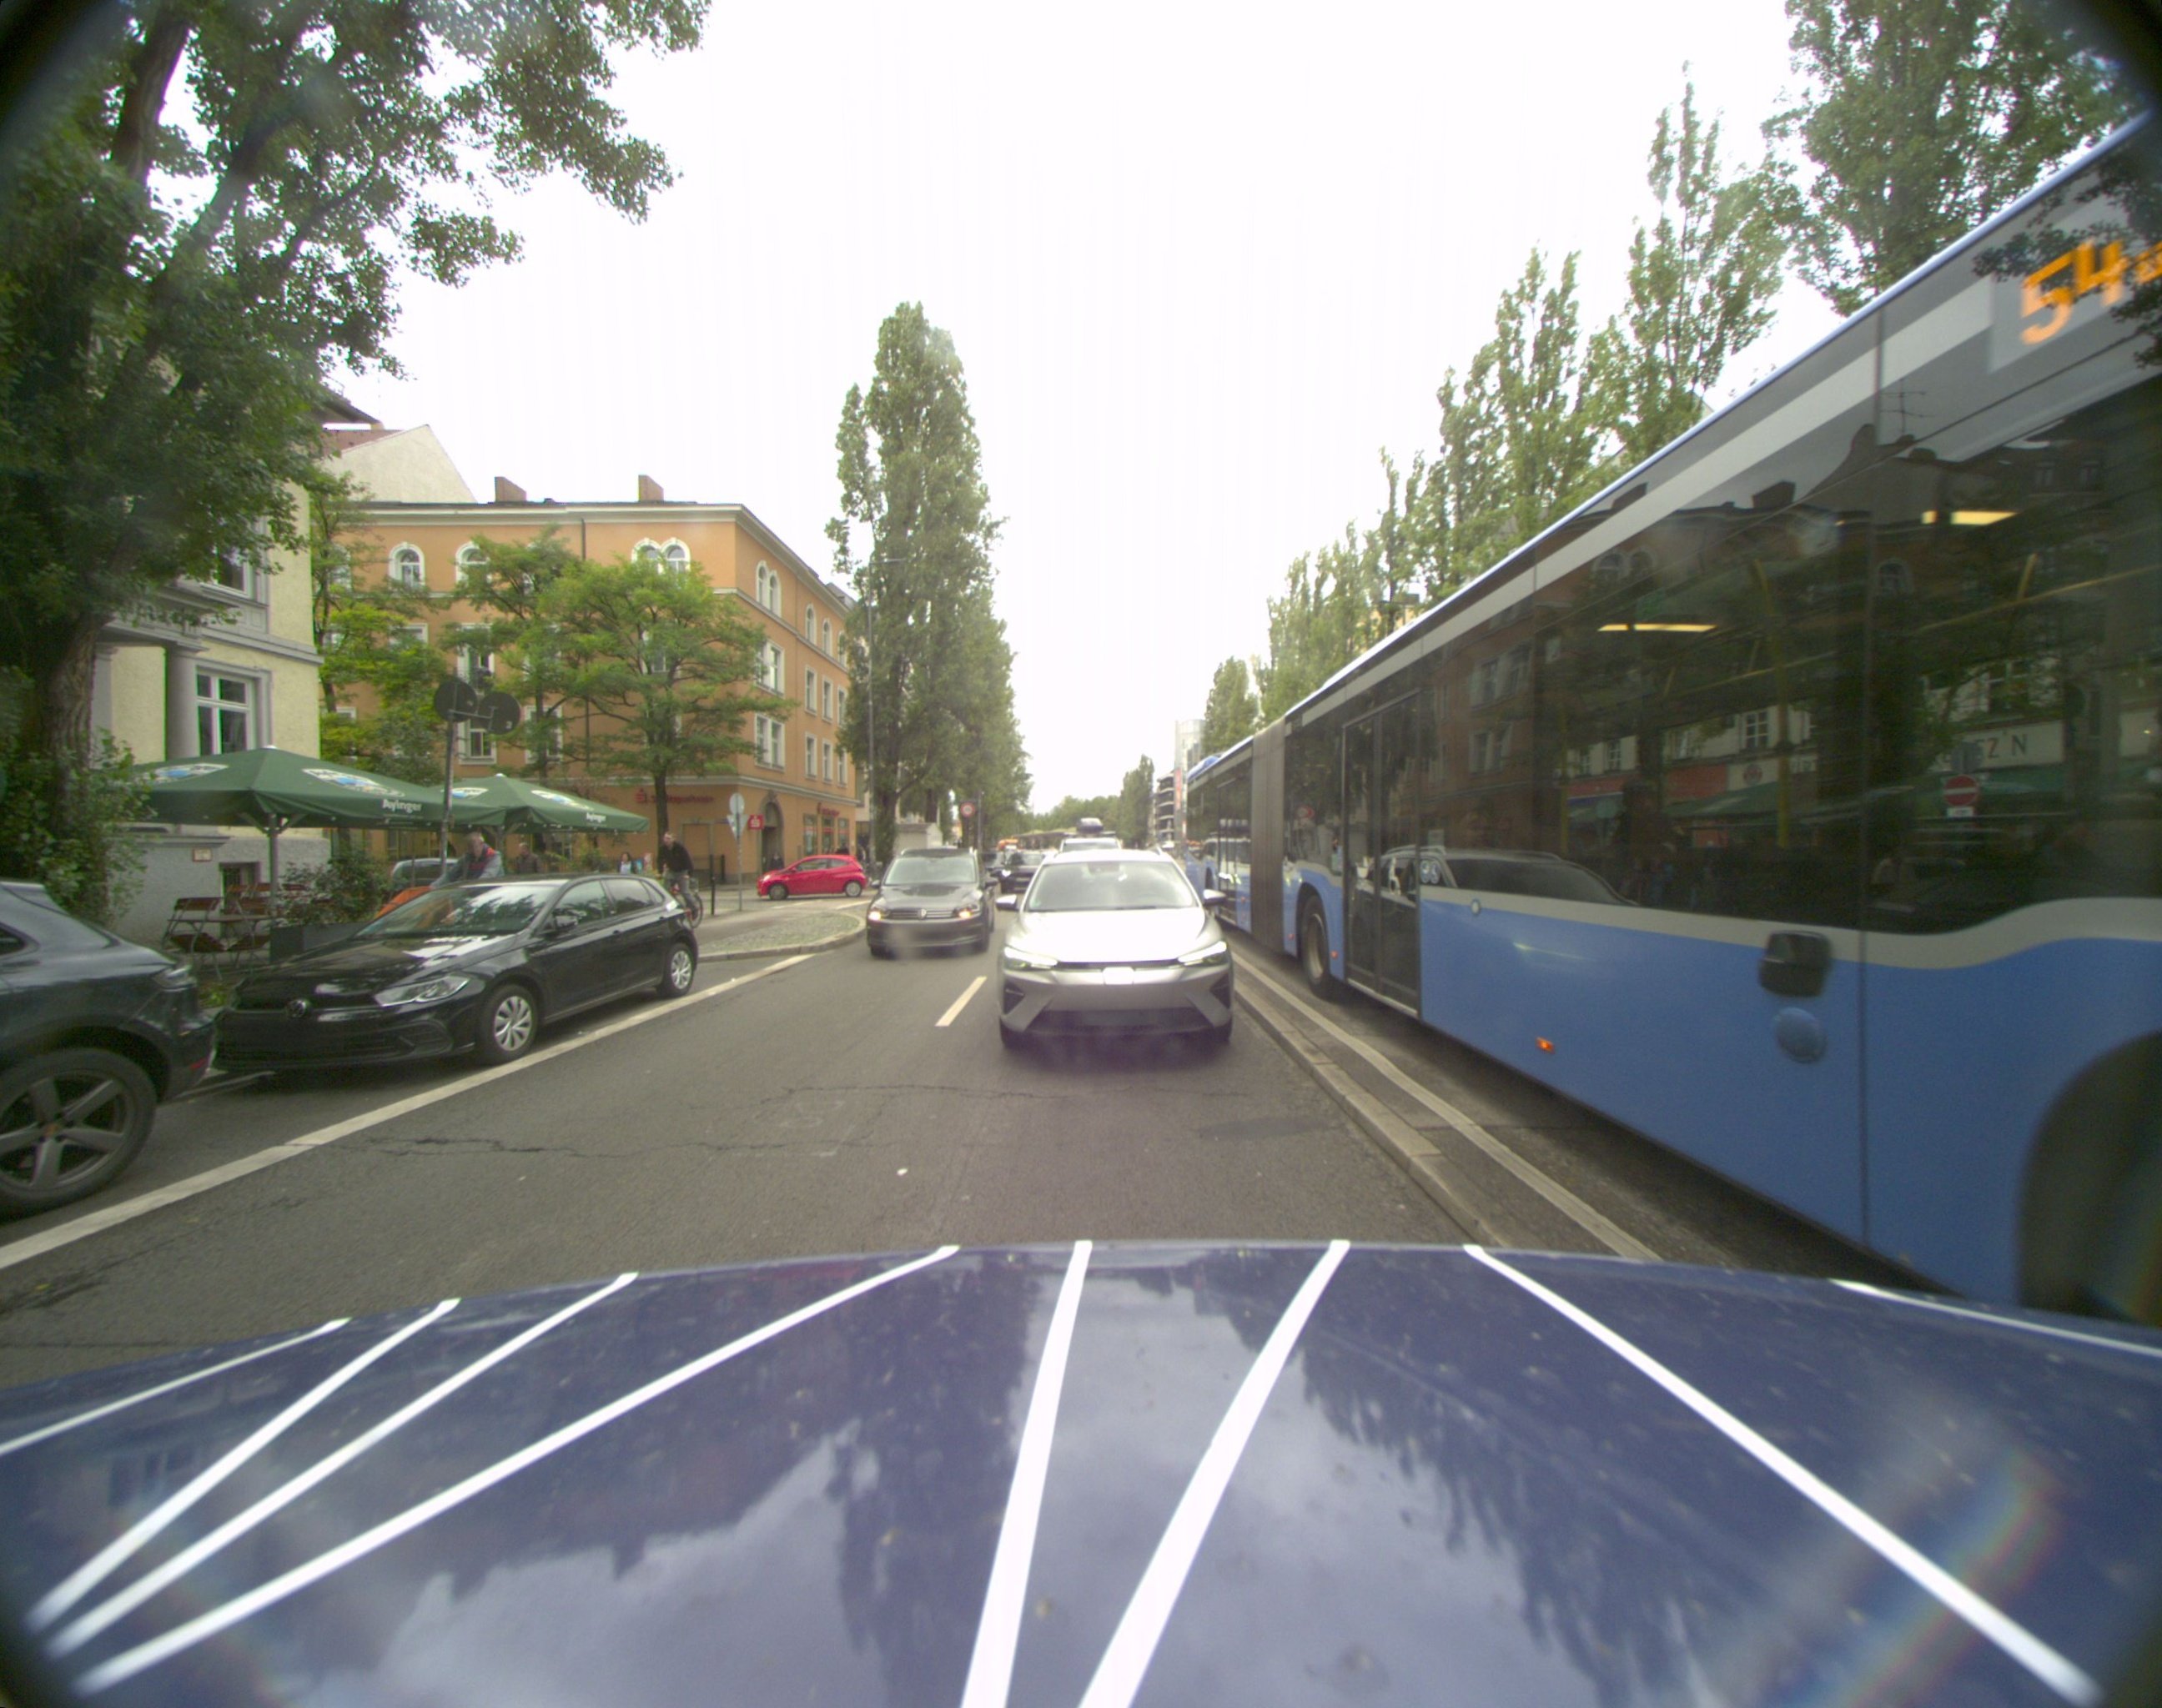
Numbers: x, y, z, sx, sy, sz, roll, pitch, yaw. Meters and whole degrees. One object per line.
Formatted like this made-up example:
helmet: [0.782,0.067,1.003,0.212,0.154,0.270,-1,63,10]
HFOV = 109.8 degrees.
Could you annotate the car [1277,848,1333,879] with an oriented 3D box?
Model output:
car: [12.184,0.462,41.666,1.802,1.603,4.574,0,1,1]

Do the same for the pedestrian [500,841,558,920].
pedestrian: [-12.801,0.599,17.650,0.699,1.756,0.732,-2,2,4]

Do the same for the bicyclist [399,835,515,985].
bicyclist: [-7.596,0.652,9.284,0.831,1.747,0.667,-1,1,-7]

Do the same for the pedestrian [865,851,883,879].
pedestrian: [-11.902,0.607,43.710,0.745,1.562,0.614,-2,2,4]

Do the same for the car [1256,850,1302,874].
car: [12.335,0.476,47.582,1.802,1.432,4.574,0,1,1]

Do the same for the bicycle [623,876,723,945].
bicycle: [-7.532,1.006,14.150,0.737,1.113,2.101,-1,1,-1]

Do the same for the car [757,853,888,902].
car: [-8.580,0.751,25.481,4.006,1.425,1.615,-2,1,-17]

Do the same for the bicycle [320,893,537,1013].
bicycle: [-7.538,1.082,8.962,0.887,1.113,2.100,-1,1,-6]

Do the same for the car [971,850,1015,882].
car: [-4.640,0.582,40.720,1.789,1.544,4.498,-2,1,0]

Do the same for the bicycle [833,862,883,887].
bicycle: [-9.413,0.855,32.141,1.945,1.004,0.561,-1,1,2]

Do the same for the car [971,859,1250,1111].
car: [0.197,0.861,6.921,1.742,1.510,4.033,-2,1,0]

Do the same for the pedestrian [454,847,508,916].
pedestrian: [-13.928,0.631,17.660,0.699,1.562,0.574,-2,2,4]

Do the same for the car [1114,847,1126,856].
car: [6.436,-0.448,125.837,1.718,1.532,4.076,1,1,1]

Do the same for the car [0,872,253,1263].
car: [-5.507,0.968,1.972,1.808,1.628,4.446,-2,1,-1]

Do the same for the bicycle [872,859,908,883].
bicycle: [-9.102,0.810,36.196,1.610,1.078,0.321,-1,1,-21]

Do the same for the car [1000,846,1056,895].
car: [-1.993,0.573,29.539,1.706,1.683,4.003,-3,1,1]

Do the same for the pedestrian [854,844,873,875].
pedestrian: [-11.926,0.282,41.743,0.746,1.651,0.771,-2,2,1]

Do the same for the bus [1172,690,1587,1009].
bus: [3.359,-0.088,12.043,2.690,2.932,10.051,0,1,0]

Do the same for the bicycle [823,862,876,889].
bicycle: [-9.367,0.863,30.794,1.945,1.082,0.561,-1,1,2]

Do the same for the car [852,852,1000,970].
car: [-2.402,0.790,12.811,1.883,1.582,4.190,-2,1,-4]

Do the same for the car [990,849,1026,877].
car: [-4.538,0.546,48.061,1.789,1.604,4.498,-2,1,0]

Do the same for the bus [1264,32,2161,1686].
bus: [3.279,-0.013,3.122,2.696,2.932,10.051,0,1,0]

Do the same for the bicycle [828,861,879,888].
bicycle: [-9.427,0.848,31.537,1.945,1.069,0.561,-1,1,2]

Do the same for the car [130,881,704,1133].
car: [-5.210,1.047,6.830,1.698,1.408,3.950,-1,1,-1]

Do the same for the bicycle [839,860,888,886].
bicycle: [-9.403,0.817,32.889,1.945,1.078,0.561,-1,1,2]

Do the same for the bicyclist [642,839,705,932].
bicyclist: [-7.532,0.566,14.079,0.741,1.677,0.748,-1,1,-1]

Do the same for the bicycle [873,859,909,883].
bicycle: [-8.946,0.785,35.864,1.604,1.078,0.341,-1,1,-21]

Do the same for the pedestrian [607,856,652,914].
pedestrian: [-12.563,0.843,21.147,0.745,1.562,0.664,-2,2,4]

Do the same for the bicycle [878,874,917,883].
bicycle: [-8.466,1.142,35.121,1.677,0.371,0.830,1,1,-7]

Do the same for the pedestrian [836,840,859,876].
pedestrian: [-12.735,0.209,41.463,0.839,1.938,0.802,-2,2,3]

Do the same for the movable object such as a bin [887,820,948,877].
movable object such as a bin: [-9.344,-0.311,43.924,2.445,3.119,4.543,1,1,1]

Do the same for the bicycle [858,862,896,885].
bicycle: [-9.226,0.876,34.372,1.602,1.004,0.342,-1,1,-6]

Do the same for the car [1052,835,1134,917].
car: [0.278,0.459,20.227,1.839,1.832,5.128,-2,1,0]
